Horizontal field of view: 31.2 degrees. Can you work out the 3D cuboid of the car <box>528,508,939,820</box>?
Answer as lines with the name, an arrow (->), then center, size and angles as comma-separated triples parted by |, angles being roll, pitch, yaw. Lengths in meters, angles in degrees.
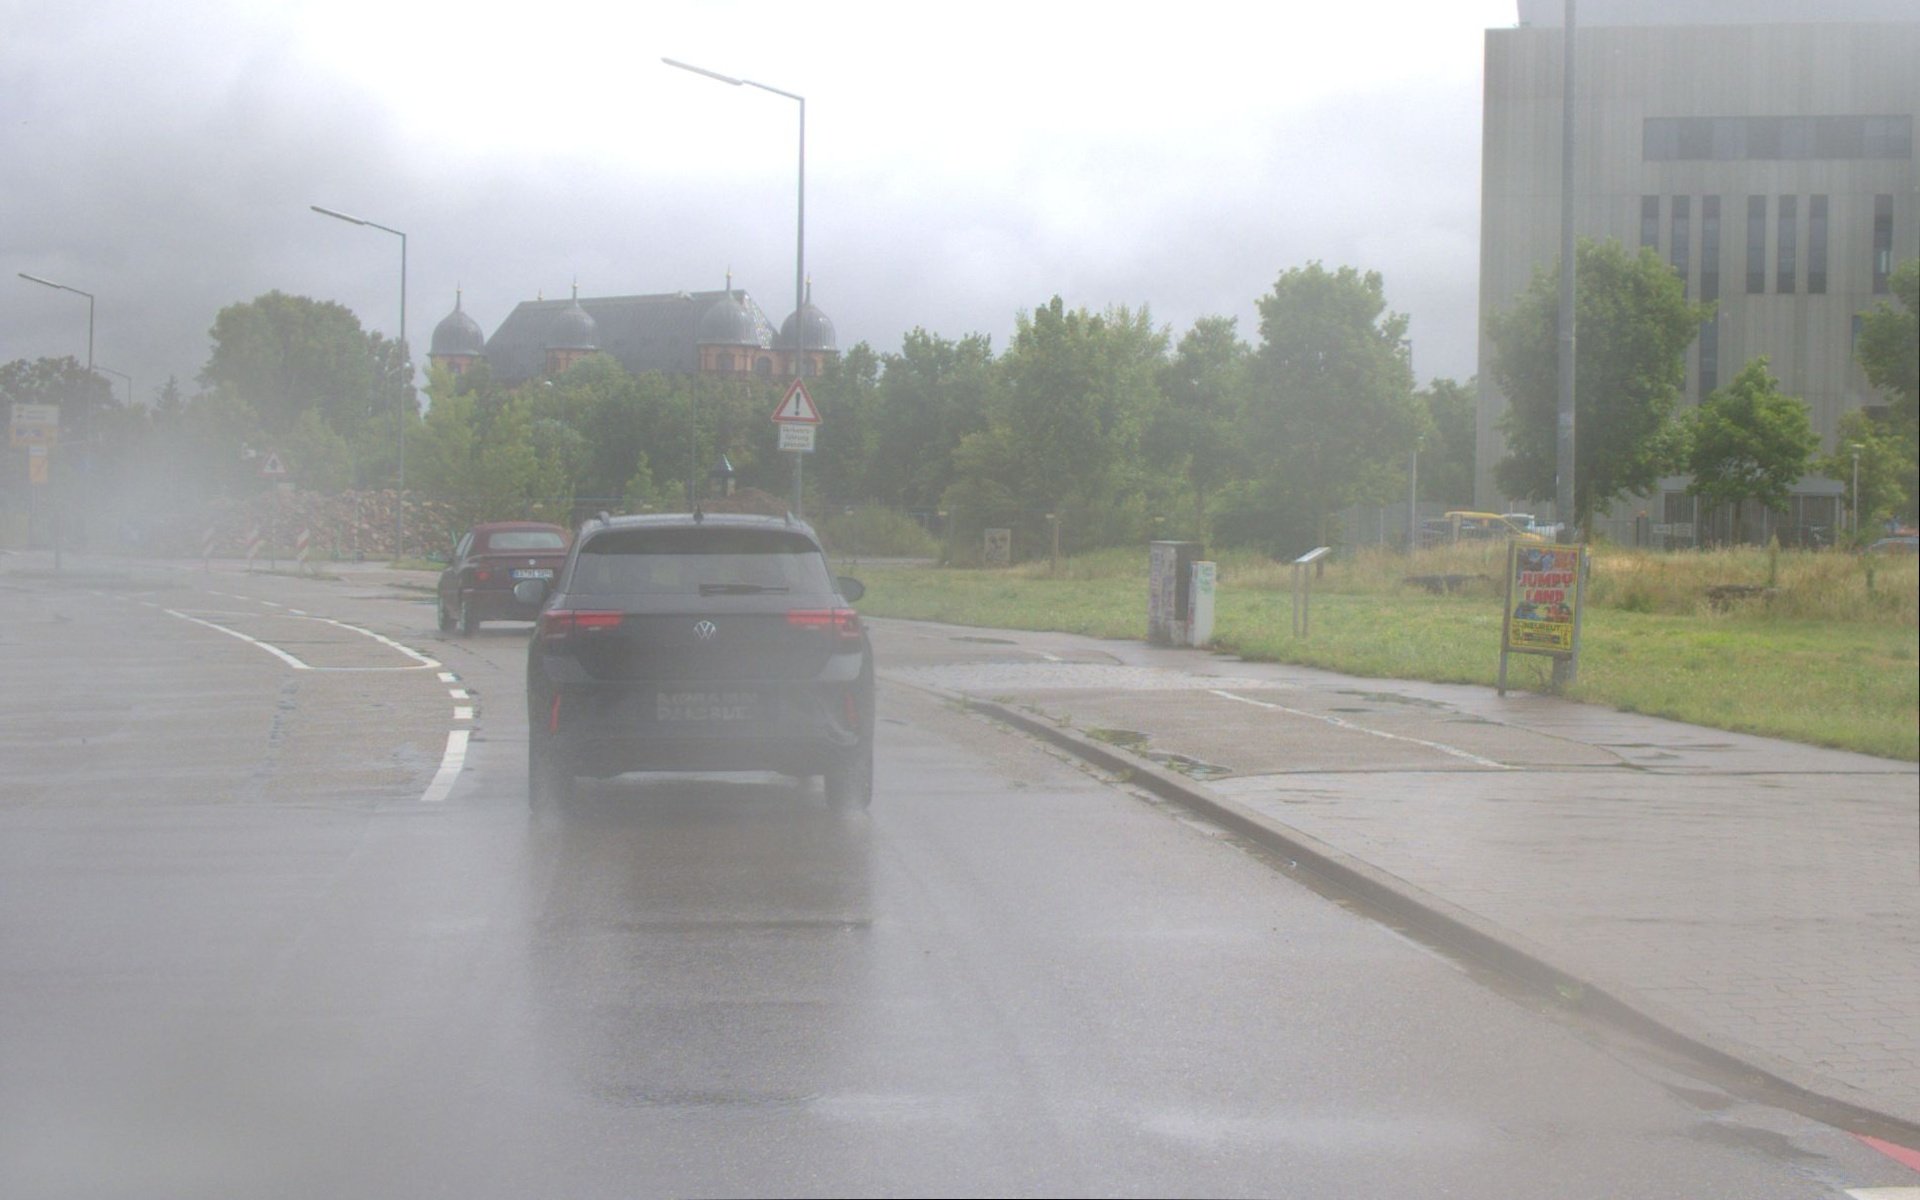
car -> -1.356, 0.258, 18.916 | 1.986, 1.515, 4.001 | 0, 2, -8

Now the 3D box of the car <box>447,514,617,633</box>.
car -> -5.606, -0.366, 44.666 | 1.841, 1.437, 4.001 | -2, 1, -12

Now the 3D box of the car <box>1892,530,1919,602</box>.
car -> 28.384, -0.932, 96.962 | 3.702, 2.007, 1.997 | 1, 1, 25
